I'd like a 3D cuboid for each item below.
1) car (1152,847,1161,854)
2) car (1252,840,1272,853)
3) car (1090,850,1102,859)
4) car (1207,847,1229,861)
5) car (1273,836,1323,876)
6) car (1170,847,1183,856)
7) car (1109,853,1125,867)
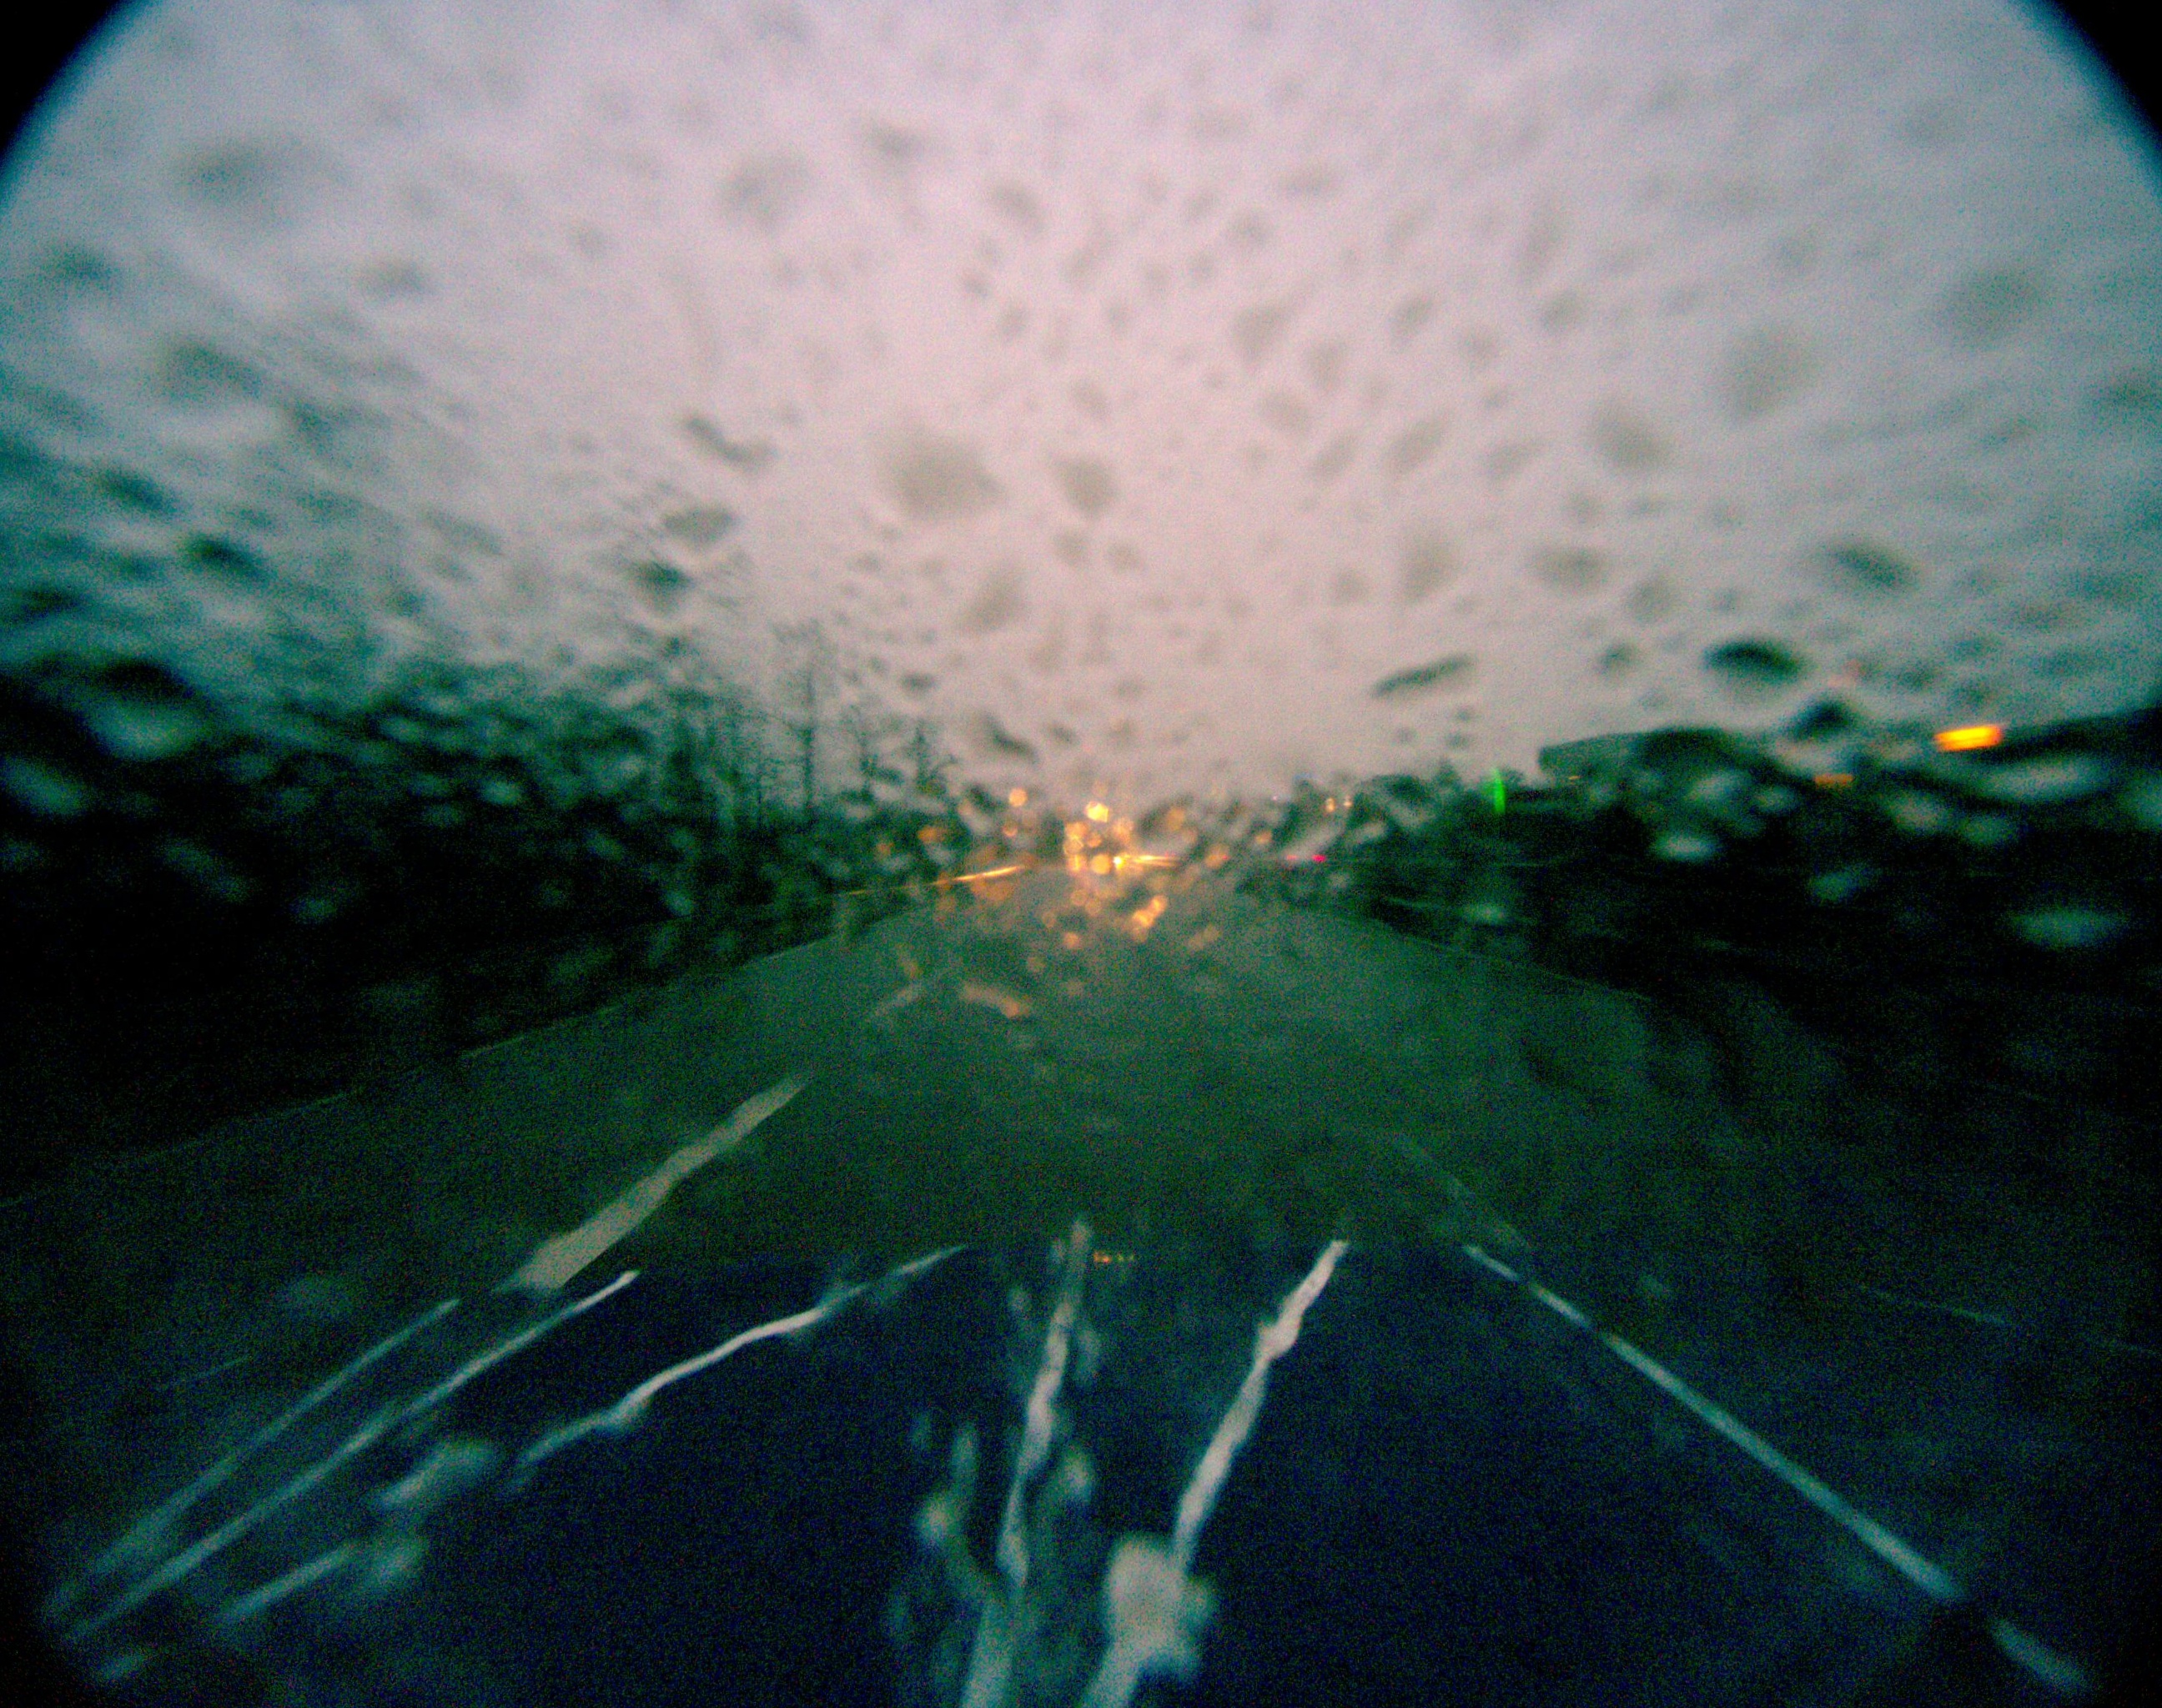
[{"bbox_3d":[17.210,-0.769,173.564,1.741,1.499,4.000,-3,1,1],"label":"car"},{"bbox_3d":[30.771,-1.255,129.237,2.160,2.002,4.960,-3,0,-1],"label":"car"},{"bbox_3d":[2.368,0.081,120.269,1.682,1.401,3.775,-3,1,2],"label":"car"},{"bbox_3d":[15.222,-0.022,84.435,1.741,1.499,4.000,-3,1,1],"label":"car"},{"bbox_3d":[14.242,0.068,50.231,1.932,2.284,4.885,-3,4,1],"label":"car"},{"bbox_3d":[16.886,-0.428,134.357,1.741,1.499,4.000,-3,1,1],"label":"car"},{"bbox_3d":[5.684,0.985,120.504,1.999,2.002,3.999,-5,0,-1],"label":"car"}]
